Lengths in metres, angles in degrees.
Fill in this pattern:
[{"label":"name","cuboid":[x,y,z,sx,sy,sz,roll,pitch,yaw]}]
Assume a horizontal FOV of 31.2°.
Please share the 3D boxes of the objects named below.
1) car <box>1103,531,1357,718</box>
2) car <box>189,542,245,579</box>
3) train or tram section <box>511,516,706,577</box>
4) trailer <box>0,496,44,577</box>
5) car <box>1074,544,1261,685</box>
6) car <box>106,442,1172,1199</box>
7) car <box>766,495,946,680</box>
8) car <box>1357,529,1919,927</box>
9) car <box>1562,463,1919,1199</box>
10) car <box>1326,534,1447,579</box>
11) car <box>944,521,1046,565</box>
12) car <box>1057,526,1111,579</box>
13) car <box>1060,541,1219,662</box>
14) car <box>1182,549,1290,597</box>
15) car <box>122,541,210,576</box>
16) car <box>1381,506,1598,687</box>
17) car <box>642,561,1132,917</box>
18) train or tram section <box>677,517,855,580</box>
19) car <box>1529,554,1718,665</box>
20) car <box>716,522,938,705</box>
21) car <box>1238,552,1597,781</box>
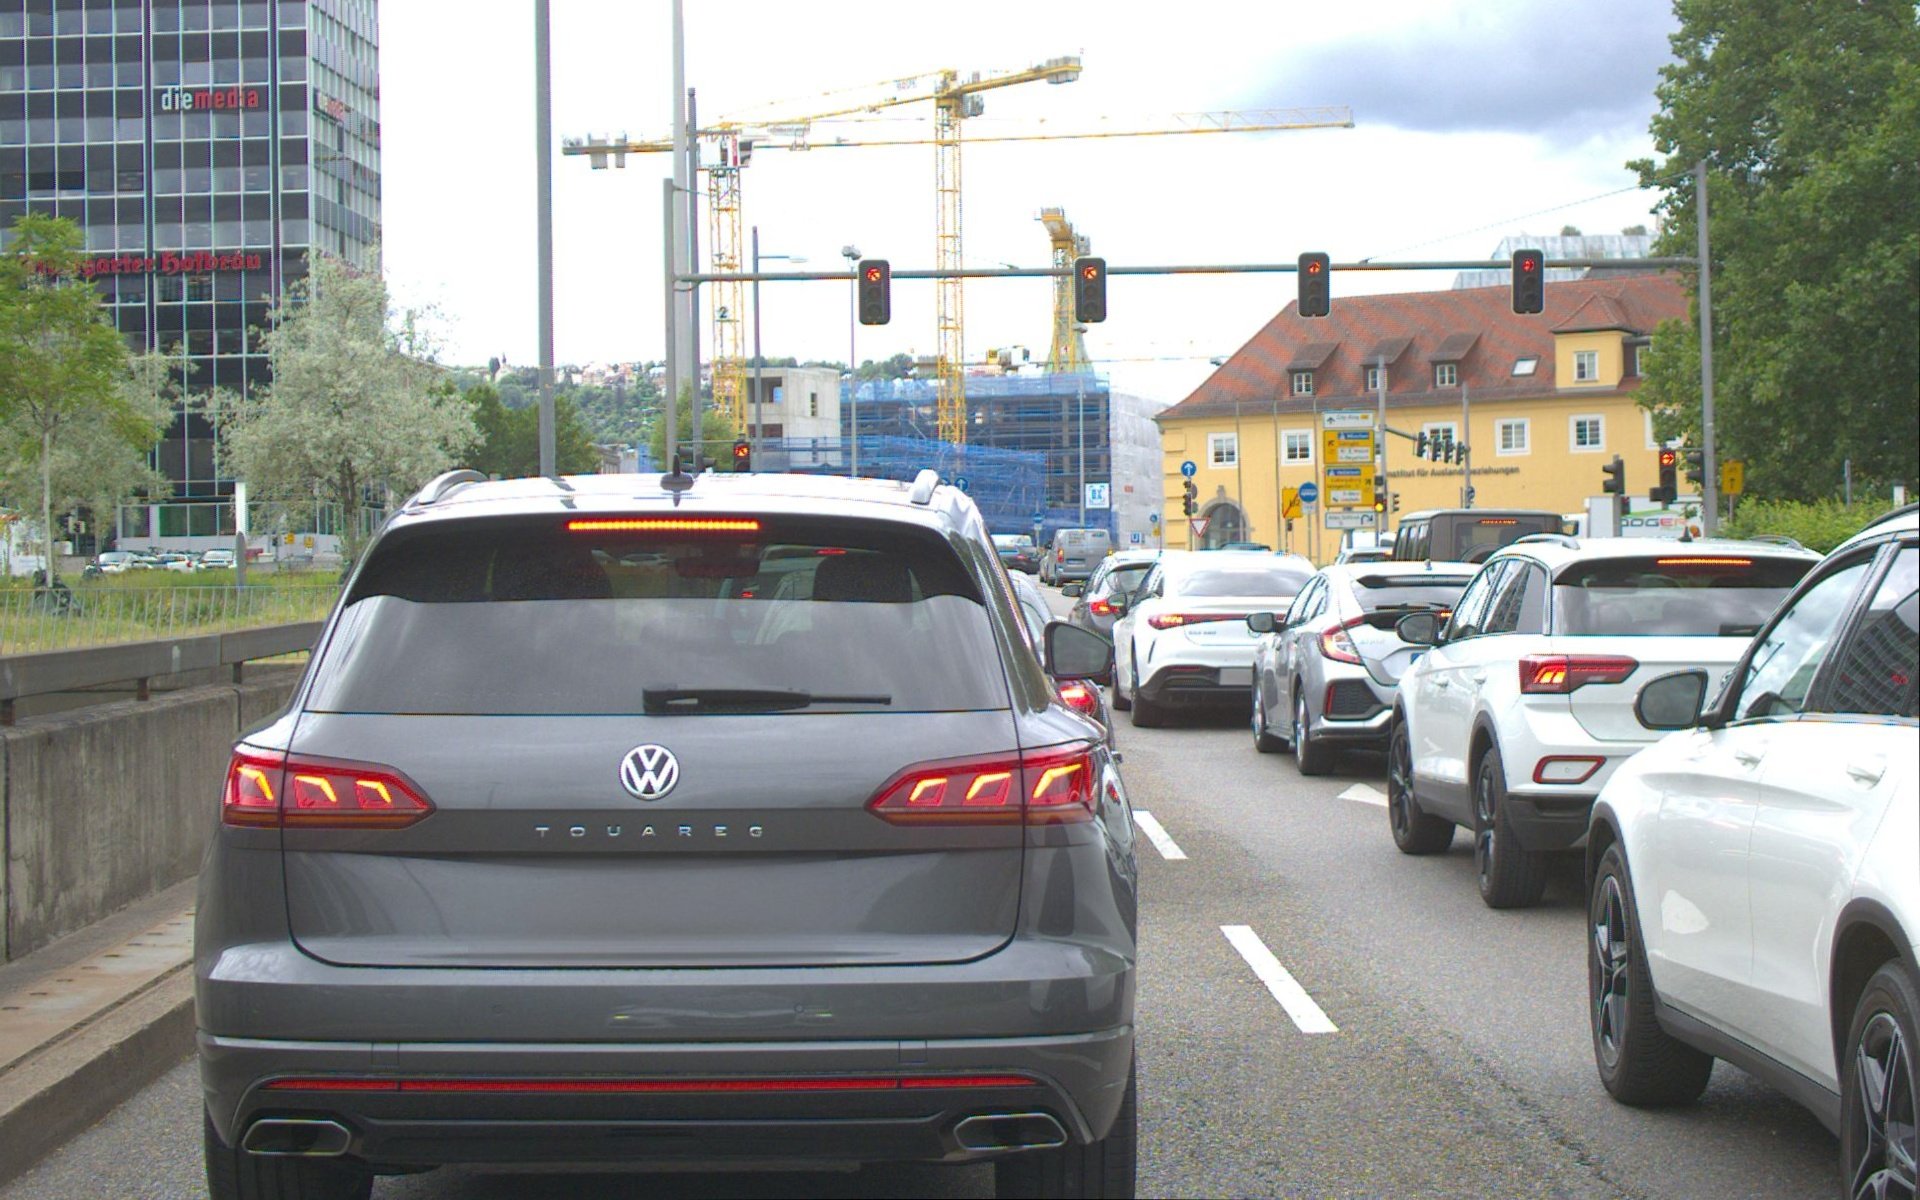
[{"label":"car","cuboid":[2.319,0.190,30.589,1.926,1.524,4.489,0,0,0]},{"label":"car","cuboid":[-31.854,-1.697,147.398,1.732,1.489,3.595,1,0,-3]},{"label":"train or tram section","cuboid":[-18.286,-2.778,178.630,10.412,2.999,2.592,1,-1,29]},{"label":"trailer","cuboid":[-32.183,-2.151,114.225,2.037,2.596,5.509,1,2,-1]},{"label":"car","cuboid":[2.324,0.148,39.410,1.926,1.524,4.047,0,0,0]},{"label":"car","cuboid":[-0.632,0.515,8.360,1.951,1.646,4.000,1,1,-1]},{"label":"car","cuboid":[-1.188,-0.168,40.135,1.951,2.011,3.931,1,1,-1]},{"label":"car","cuboid":[3.026,0.491,15.706,1.926,1.545,4.489,0,0,0]},{"label":"car","cuboid":[2.685,0.536,7.651,1.926,1.648,4.490,0,2,0]},{"label":"car","cuboid":[15.981,-1.628,128.979,4.108,1.605,1.826,1,-1,35]},{"label":"car","cuboid":[1.675,-2.717,163.593,4.454,2.007,1.996,1,-1,33]},{"label":"car","cuboid":[4.060,-1.536,113.172,1.619,1.622,4.000,1,0,0]},{"label":"car","cuboid":[2.339,0.006,45.698,1.926,1.524,4.047,0,0,0]},{"label":"car","cuboid":[12.193,-1.188,151.794,4.454,2.007,1.699,1,-1,33]},{"label":"car","cuboid":[-38.276,-1.994,165.682,4.222,1.598,1.749,1,0,36]},{"label":"car","cuboid":[6.223,-0.050,40.832,1.910,2.007,4.012,1,0,0]},{"label":"car","cuboid":[-0.332,0.541,15.869,1.951,1.379,3.931,1,1,-1]},{"label":"train or tram section","cuboid":[-9.832,-2.618,173.883,8.936,2.999,2.592,1,-1,30]},{"label":"car","cuboid":[9.118,0.114,47.479,1.757,1.442,3.634,1,0,-2]},{"label":"car","cuboid":[-1.225,0.091,32.728,1.951,1.594,3.931,1,1,-1]},{"label":"car","cuboid":[3.058,0.404,23.869,1.926,1.427,4.489,0,0,0]}]
